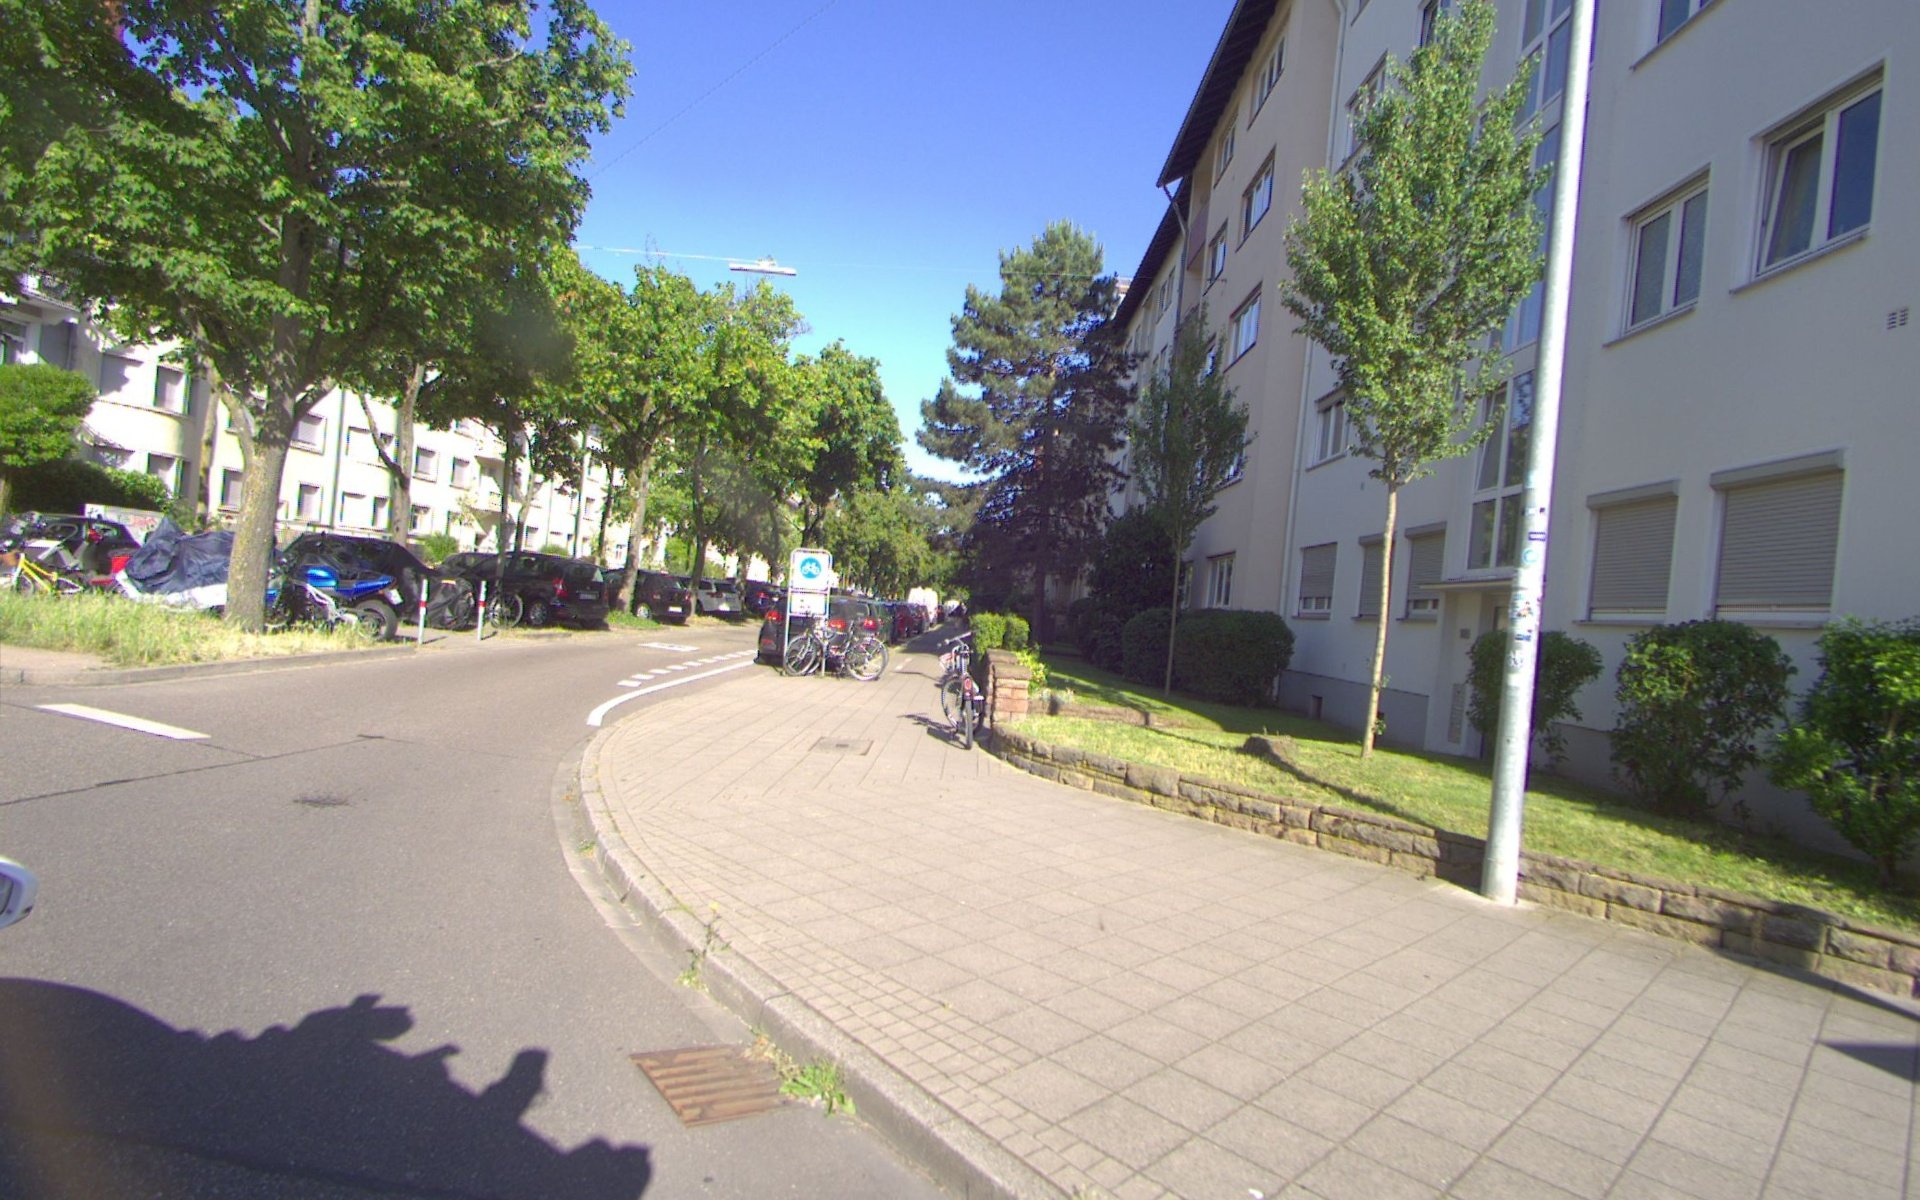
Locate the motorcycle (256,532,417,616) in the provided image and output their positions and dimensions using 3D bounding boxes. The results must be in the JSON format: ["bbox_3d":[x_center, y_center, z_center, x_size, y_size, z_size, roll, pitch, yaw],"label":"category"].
[{"bbox_3d":[-11.388,-0.461,18.439,2.200,1.284,1.051,6,1,0],"label":"motorcycle"}]

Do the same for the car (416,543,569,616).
[{"bbox_3d":[-13.167,-0.584,28.327,3.929,1.611,1.705,6,0,26],"label":"car"}]

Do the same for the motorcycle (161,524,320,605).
[{"bbox_3d":[-13.755,-0.665,19.295,2.200,1.284,1.051,6,1,0],"label":"motorcycle"}]

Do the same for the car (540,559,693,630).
[{"bbox_3d":[-10.122,-0.165,29.648,3.928,1.617,1.878,6,0,24],"label":"car"}]

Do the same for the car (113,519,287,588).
[{"bbox_3d":[-20.272,-1.183,27.069,1.721,1.463,3.852,6,0,-2],"label":"car"}]

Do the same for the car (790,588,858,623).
[{"bbox_3d":[-8.379,0.353,61.933,3.943,1.745,1.877,6,0,40],"label":"car"}]

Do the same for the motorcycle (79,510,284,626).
[{"bbox_3d":[-10.663,-0.426,13.840,2.017,1.344,0.862,6,1,-3],"label":"motorcycle"}]

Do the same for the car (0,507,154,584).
[{"bbox_3d":[-20.073,-1.191,22.014,1.721,1.463,3.954,4,0,-2],"label":"car"}]

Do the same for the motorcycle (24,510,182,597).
[{"bbox_3d":[-14.663,-0.778,17.257,1.859,1.252,0.889,6,1,0],"label":"motorcycle"}]

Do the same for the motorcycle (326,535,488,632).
[{"bbox_3d":[-9.502,-0.268,17.365,2.088,1.410,1.062,6,1,-2],"label":"motorcycle"}]

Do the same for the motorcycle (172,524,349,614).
[{"bbox_3d":[-11.949,-0.510,17.252,2.200,1.284,1.051,6,1,0],"label":"motorcycle"}]

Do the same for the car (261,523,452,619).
[{"bbox_3d":[-13.076,-0.632,21.775,3.810,1.660,1.800,6,0,29],"label":"car"}]

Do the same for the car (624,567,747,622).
[{"bbox_3d":[-9.901,-0.198,36.306,3.927,1.568,1.780,6,0,23],"label":"car"}]

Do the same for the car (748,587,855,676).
[{"bbox_3d":[-3.177,0.558,20.475,1.801,1.429,3.994,7,0,-8],"label":"car"}]

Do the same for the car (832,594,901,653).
[{"bbox_3d":[-2.930,0.709,32.286,1.753,1.524,3.998,9,0,-2],"label":"car"}]

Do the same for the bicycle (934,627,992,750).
[{"bbox_3d":[0.008,0.859,10.270,0.377,1.092,1.624,3,0,-5],"label":"bicycle"}]

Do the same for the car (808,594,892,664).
[{"bbox_3d":[-2.783,0.694,26.307,1.752,1.504,3.998,7,0,-2],"label":"car"}]

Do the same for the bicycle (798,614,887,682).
[{"bbox_3d":[-1.993,0.813,17.160,1.423,1.070,0.330,4,1,-2],"label":"bicycle"}]

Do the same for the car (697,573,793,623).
[{"bbox_3d":[-9.188,-0.096,42.937,3.943,1.745,1.877,6,0,40],"label":"car"}]

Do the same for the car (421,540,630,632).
[{"bbox_3d":[-9.843,-0.300,22.857,3.925,1.617,2.000,6,0,18],"label":"car"}]

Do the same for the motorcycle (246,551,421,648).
[{"bbox_3d":[-8.616,-0.008,13.897,1.811,1.086,0.814,7,1,0],"label":"motorcycle"}]

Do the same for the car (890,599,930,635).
[{"bbox_3d":[-2.461,0.819,50.300,1.752,1.504,3.998,7,0,-2],"label":"car"}]

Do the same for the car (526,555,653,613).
[{"bbox_3d":[-13.034,-0.572,35.393,3.929,1.611,1.884,6,0,25],"label":"car"}]

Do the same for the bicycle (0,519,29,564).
[{"bbox_3d":[-23.634,-1.466,23.951,0.670,1.073,2.257,6,0,3],"label":"bicycle"}]

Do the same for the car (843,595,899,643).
[{"bbox_3d":[-3.282,0.664,37.751,1.752,1.504,3.998,7,0,-2],"label":"car"}]

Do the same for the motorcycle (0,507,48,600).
[{"bbox_3d":[-14.645,-0.776,13.973,2.734,1.284,1.126,6,0,-5],"label":"motorcycle"}]

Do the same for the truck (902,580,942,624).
[{"bbox_3d":[-2.680,0.127,70.643,2.367,2.709,5.903,7,0,-2],"label":"truck"}]

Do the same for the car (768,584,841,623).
[{"bbox_3d":[-8.779,0.182,56.648,3.943,1.745,1.877,6,0,40],"label":"car"}]

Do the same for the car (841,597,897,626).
[{"bbox_3d":[-6.832,0.855,75.535,3.943,1.745,1.877,6,0,40],"label":"car"}]

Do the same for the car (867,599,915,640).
[{"bbox_3d":[-2.918,0.793,43.133,1.752,1.504,3.998,7,0,-2],"label":"car"}]

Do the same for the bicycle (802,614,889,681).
[{"bbox_3d":[-1.997,0.824,17.633,1.423,1.070,0.330,4,1,-2],"label":"bicycle"}]
